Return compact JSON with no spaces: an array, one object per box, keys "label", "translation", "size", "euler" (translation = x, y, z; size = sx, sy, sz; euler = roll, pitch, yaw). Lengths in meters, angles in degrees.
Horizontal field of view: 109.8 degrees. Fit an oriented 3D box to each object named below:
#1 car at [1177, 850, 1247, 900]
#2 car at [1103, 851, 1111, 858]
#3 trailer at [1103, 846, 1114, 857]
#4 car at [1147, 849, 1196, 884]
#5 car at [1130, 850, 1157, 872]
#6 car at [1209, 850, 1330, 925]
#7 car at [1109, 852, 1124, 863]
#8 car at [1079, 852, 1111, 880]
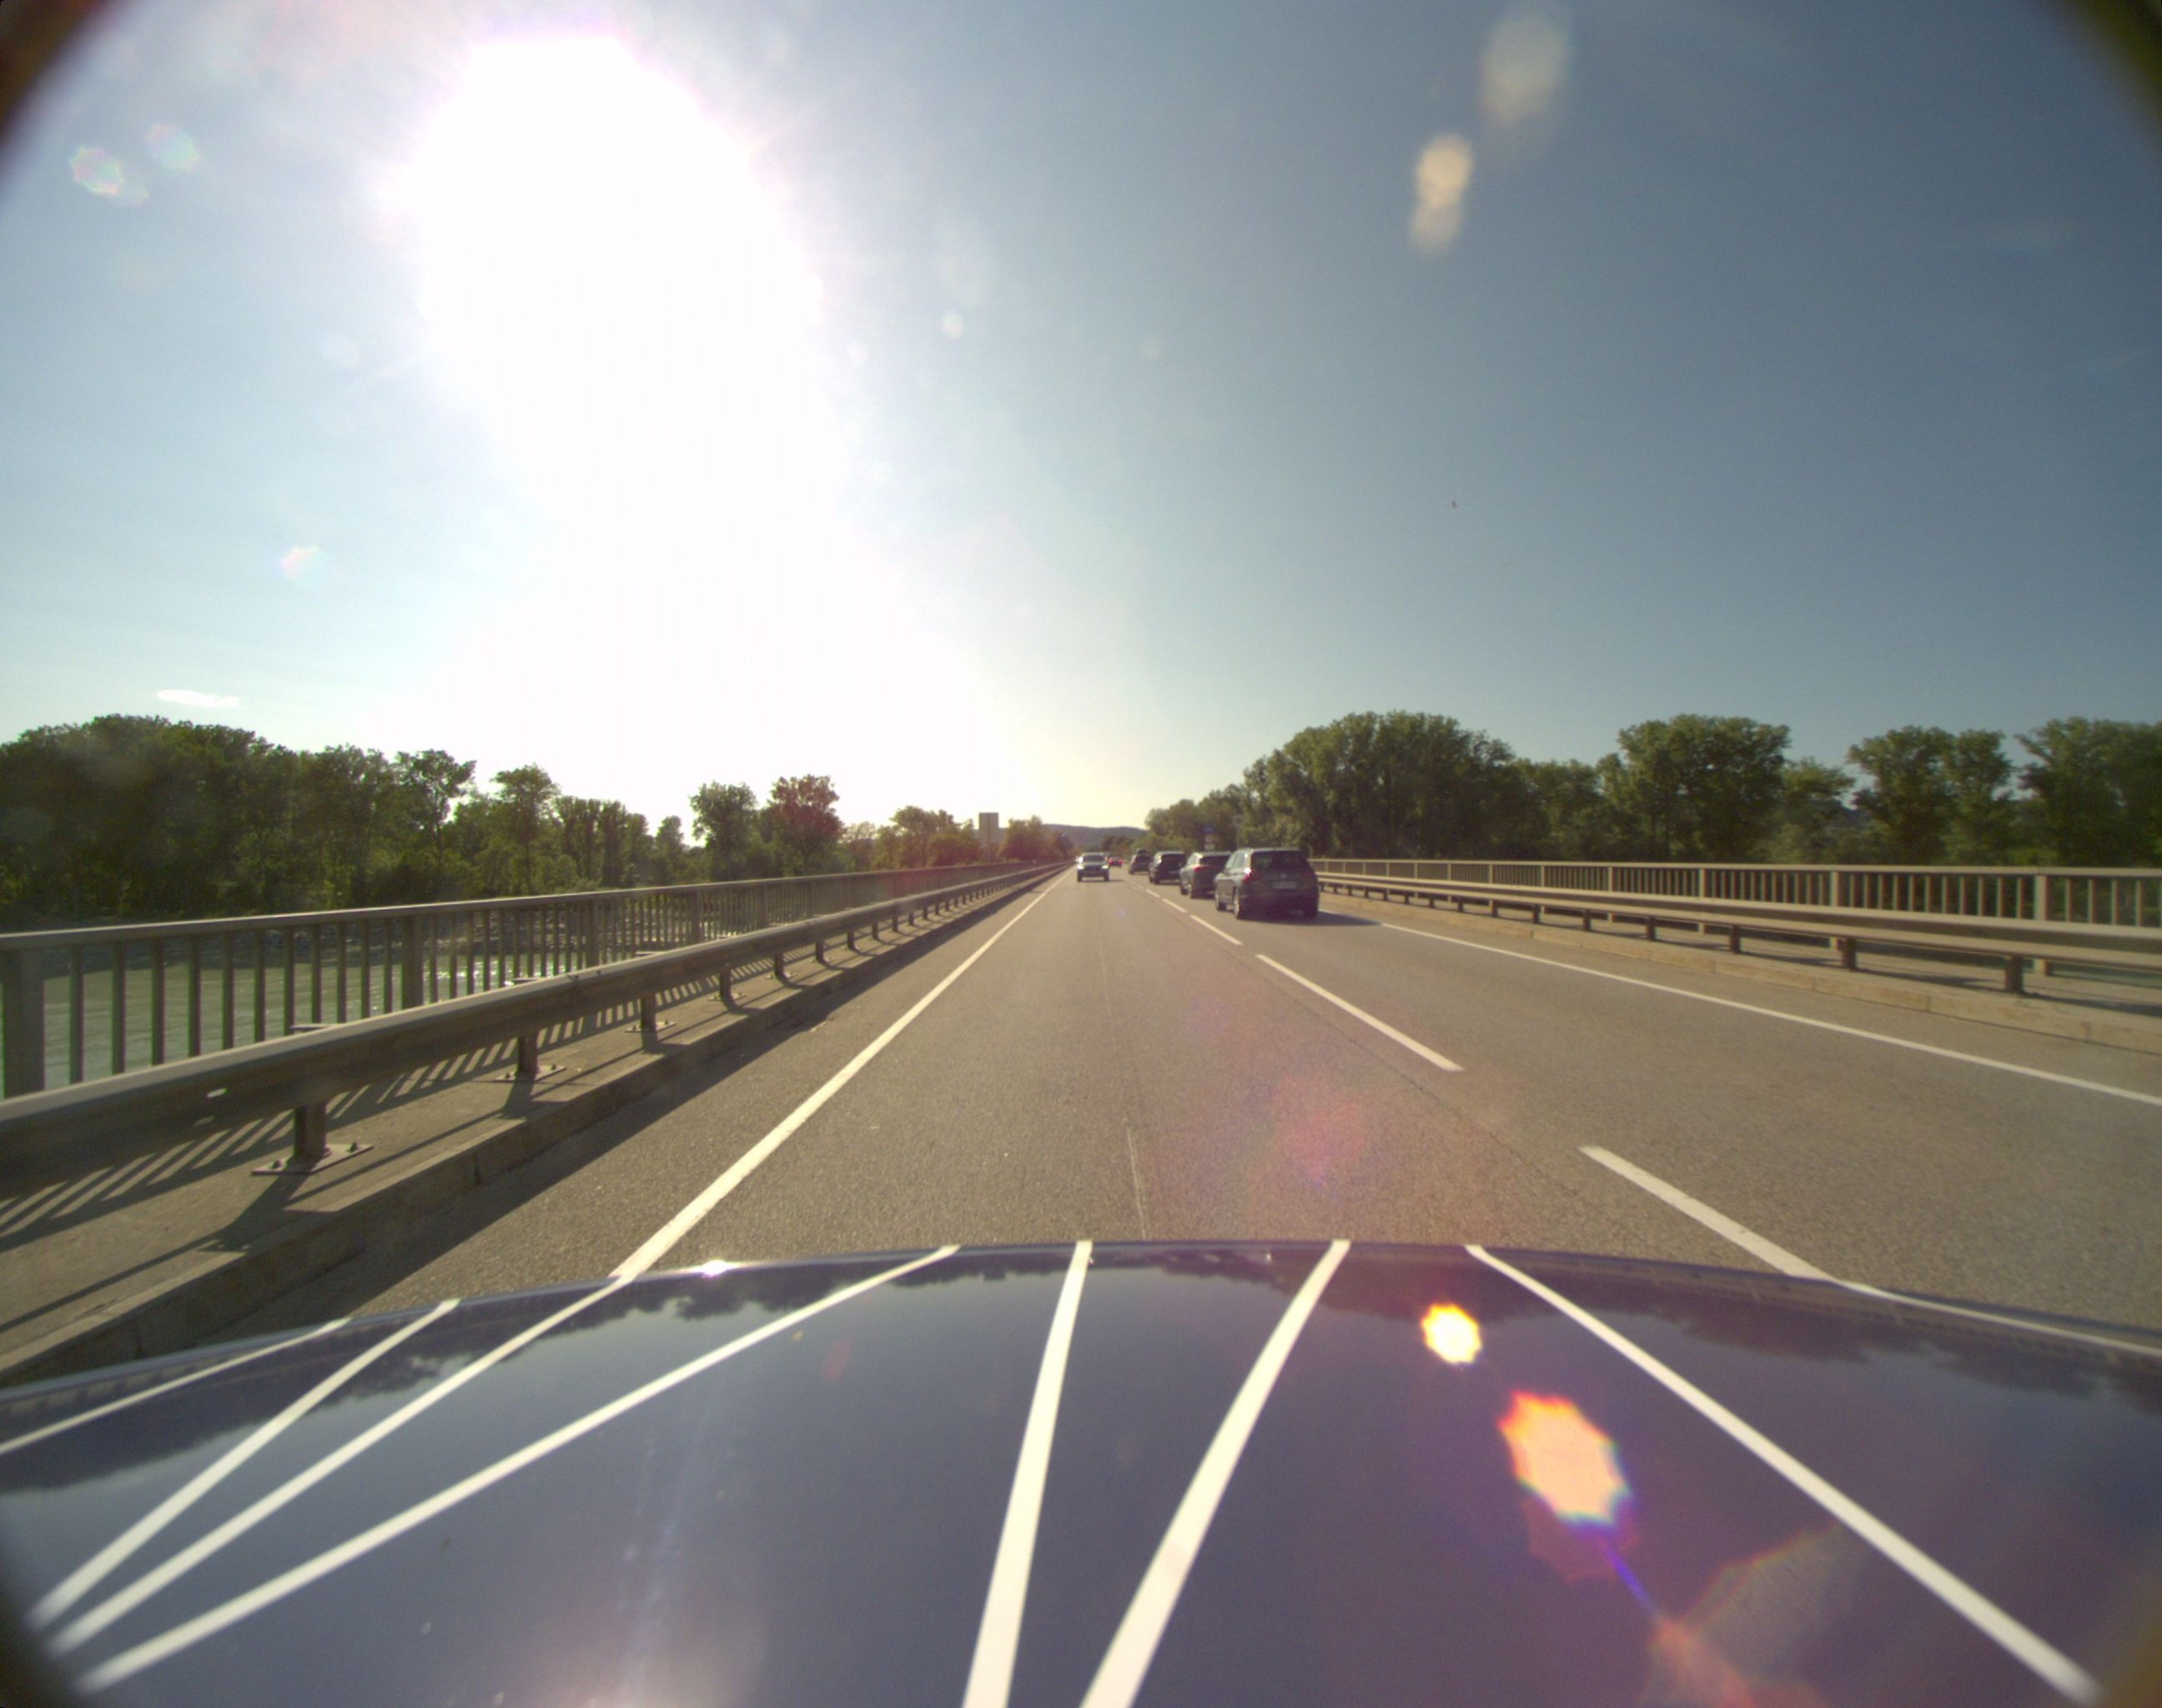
[{"label":"car","translation":[4.541,0.671,26.870],"size":[1.811,1.568,4.201],"euler":[-2,0,2]},{"label":"car","translation":[6.139,0.033,178.939],"size":[1.807,1.651,4.432],"euler":[-2,0,0]},{"label":"trailer","translation":[7.020,-0.626,195.114],"size":[2.561,2.721,8.062],"euler":[-2,0,1]},{"label":"car","translation":[4.693,0.598,40.168],"size":[2.058,1.643,4.721],"euler":[-3,0,2]},{"label":"car","translation":[5.112,0.548,62.435],"size":[1.859,1.712,4.566],"euler":[-1,0,1]},{"label":"car","translation":[4.401,0.712,18.413],"size":[1.879,1.574,4.274],"euler":[-1,0,1]},{"label":"car","translation":[4.859,0.462,104.621],"size":[1.770,1.439,4.456],"euler":[-2,0,0]},{"label":"car","translation":[0.892,0.711,47.273],"size":[1.871,1.598,4.379],"euler":[-2,0,1]}]
